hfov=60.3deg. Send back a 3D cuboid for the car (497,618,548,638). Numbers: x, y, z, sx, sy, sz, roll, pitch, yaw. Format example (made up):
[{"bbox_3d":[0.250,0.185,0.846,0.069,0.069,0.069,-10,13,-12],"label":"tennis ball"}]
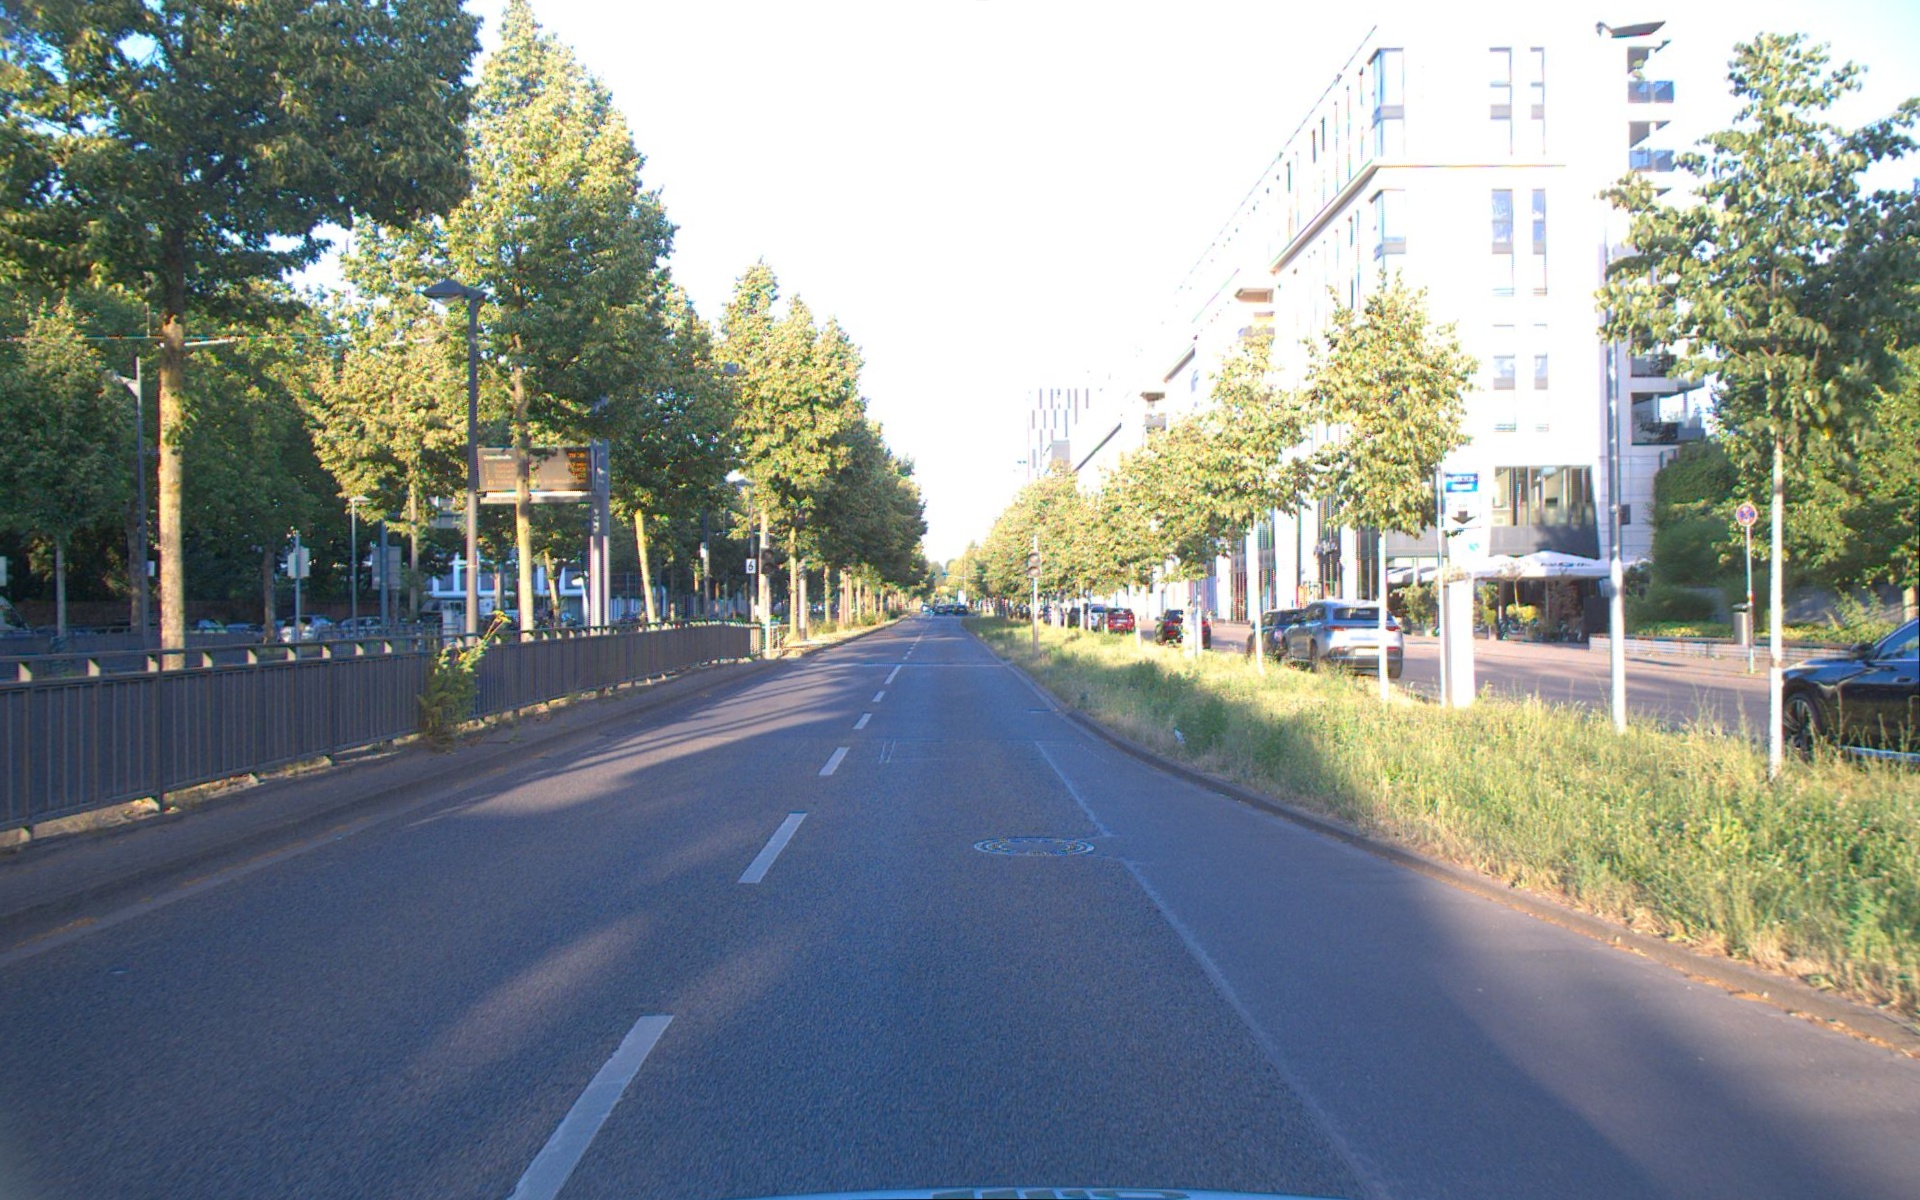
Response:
[{"bbox_3d":[-38.912,2.488,147.099,3.902,1.668,1.923,-1,0,6],"label":"car"}]

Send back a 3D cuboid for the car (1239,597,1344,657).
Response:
[{"bbox_3d":[8.215,0.645,41.284,1.714,1.422,3.999,0,0,-2],"label":"car"}]

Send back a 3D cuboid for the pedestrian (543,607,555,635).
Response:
[{"bbox_3d":[-27.960,1.425,112.420,0.680,1.903,0.864,-1,-1,-8],"label":"pedestrian"}]

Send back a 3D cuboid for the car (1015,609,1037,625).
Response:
[{"bbox_3d":[6.945,1.784,175.285,1.904,1.576,4.809,-1,-1,-3],"label":"car"}]

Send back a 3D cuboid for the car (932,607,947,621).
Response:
[{"bbox_3d":[-3.034,2.025,242.483,2.045,2.049,3.999,-1,0,-1],"label":"car"}]

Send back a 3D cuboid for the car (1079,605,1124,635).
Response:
[{"bbox_3d":[7.696,1.072,90.300,1.882,1.527,5.008,-1,0,-1],"label":"car"}]

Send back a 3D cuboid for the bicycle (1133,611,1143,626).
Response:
[{"bbox_3d":[14.518,1.494,134.912,0.527,1.184,1.781,-3,0,0],"label":"bicycle"}]

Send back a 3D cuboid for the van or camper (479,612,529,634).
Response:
[{"bbox_3d":[-38.928,1.963,141.276,3.916,1.822,1.995,-1,0,-11],"label":"van or camper"}]

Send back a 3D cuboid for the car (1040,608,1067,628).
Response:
[{"bbox_3d":[7.403,1.388,131.097,1.772,1.527,4.824,-1,0,-1],"label":"car"}]

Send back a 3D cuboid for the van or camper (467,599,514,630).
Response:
[{"bbox_3d":[-47.491,1.461,167.312,2.653,3.139,6.264,0,0,3],"label":"van or camper"}]

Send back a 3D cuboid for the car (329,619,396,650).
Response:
[{"bbox_3d":[-30.705,1.764,85.175,1.861,1.526,4.306,-1,-1,0],"label":"car"}]

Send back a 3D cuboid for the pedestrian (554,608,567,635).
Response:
[{"bbox_3d":[-27.037,1.458,112.051,0.679,1.773,0.866,-1,-1,-3],"label":"pedestrian"}]

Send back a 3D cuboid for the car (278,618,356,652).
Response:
[{"bbox_3d":[-30.840,1.647,79.465,1.953,1.525,4.556,-1,-1,0],"label":"car"}]

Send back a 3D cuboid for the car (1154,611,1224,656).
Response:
[{"bbox_3d":[8.082,1.157,58.713,1.772,1.527,4.367,-1,0,-1],"label":"car"}]

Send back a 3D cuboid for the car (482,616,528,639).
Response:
[{"bbox_3d":[-31.907,1.925,116.027,1.952,1.512,4.001,-1,-1,2],"label":"car"}]

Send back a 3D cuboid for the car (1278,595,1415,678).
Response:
[{"bbox_3d":[8.283,0.745,35.880,1.772,1.660,4.674,-1,0,-1],"label":"car"}]

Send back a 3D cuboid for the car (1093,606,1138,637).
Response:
[{"bbox_3d":[7.715,1.051,82.500,1.772,1.527,3.958,-1,0,-1],"label":"car"}]

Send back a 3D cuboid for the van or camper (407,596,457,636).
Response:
[{"bbox_3d":[-38.653,1.181,121.120,2.043,2.783,5.492,-1,-1,-2],"label":"van or camper"}]

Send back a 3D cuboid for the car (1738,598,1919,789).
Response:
[{"bbox_3d":[8.637,0.746,13.531,1.881,1.527,5.409,-1,0,-1],"label":"car"}]

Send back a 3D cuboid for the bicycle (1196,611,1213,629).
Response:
[{"bbox_3d":[14.268,1.149,96.596,0.607,1.051,2.260,-1,-1,-2],"label":"bicycle"}]

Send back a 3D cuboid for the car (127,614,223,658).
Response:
[{"bbox_3d":[-31.670,1.417,66.813,1.953,1.668,4.000,-1,0,0],"label":"car"}]

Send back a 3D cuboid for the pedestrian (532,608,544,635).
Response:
[{"bbox_3d":[-28.588,1.474,111.960,0.680,1.789,0.864,-1,-1,-8],"label":"pedestrian"}]

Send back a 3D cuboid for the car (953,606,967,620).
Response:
[{"bbox_3d":[0.026,1.898,244.253,1.953,2.049,3.999,-1,0,-1],"label":"car"}]

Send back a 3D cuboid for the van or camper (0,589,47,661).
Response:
[{"bbox_3d":[-32.924,0.845,54.403,2.236,2.406,5.785,-1,0,4],"label":"van or camper"}]
